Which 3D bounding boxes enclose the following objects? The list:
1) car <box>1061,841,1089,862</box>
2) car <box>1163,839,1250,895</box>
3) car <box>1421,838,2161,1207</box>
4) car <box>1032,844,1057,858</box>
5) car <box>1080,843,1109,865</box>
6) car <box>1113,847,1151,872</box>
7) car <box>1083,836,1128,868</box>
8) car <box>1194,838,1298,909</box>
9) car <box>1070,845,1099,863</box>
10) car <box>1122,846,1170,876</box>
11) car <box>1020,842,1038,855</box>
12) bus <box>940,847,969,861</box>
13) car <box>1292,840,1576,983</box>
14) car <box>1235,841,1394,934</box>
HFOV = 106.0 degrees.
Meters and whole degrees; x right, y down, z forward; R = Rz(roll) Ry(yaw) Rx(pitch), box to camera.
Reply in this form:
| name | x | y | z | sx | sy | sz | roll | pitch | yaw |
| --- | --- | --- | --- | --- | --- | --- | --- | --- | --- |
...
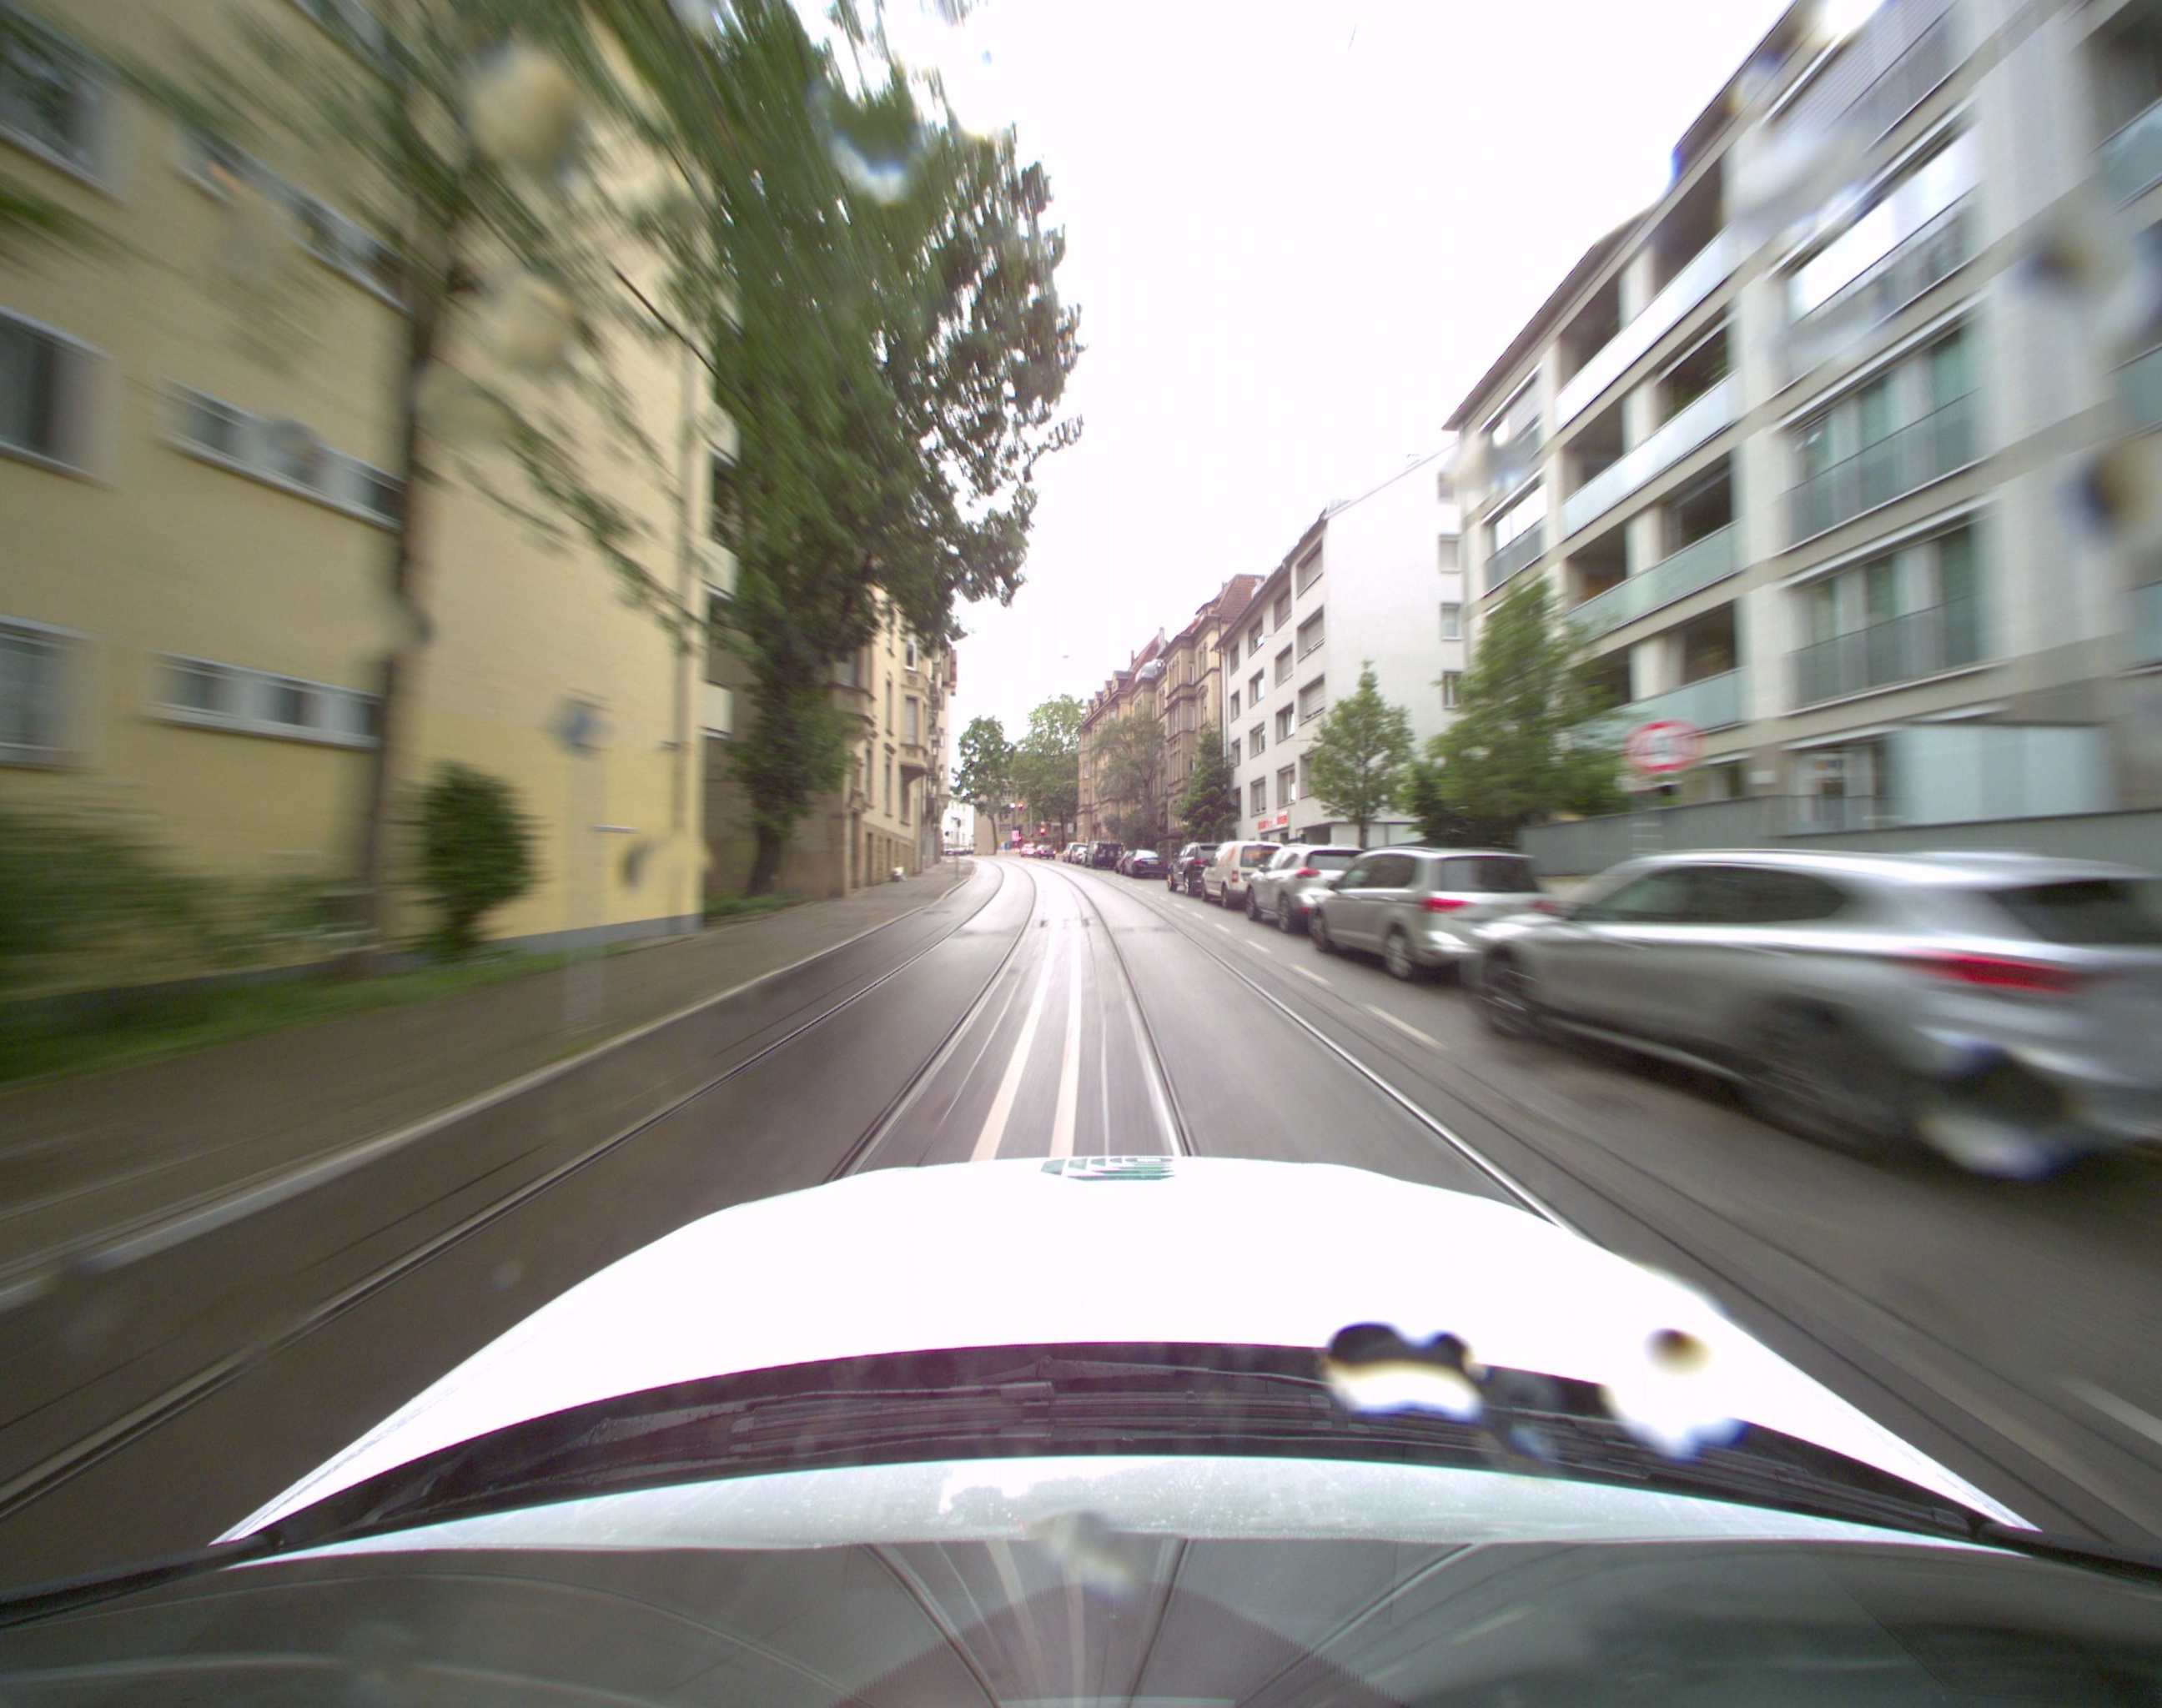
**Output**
| name | x | y | z | sx | sy | sz | roll | pitch | yaw |
| --- | --- | --- | --- | --- | --- | --- | --- | --- | --- |
| car | -0.576 | -0.277 | 72.699 | 1.797 | 1.765 | 4.448 | 2 | 0 | -10 |
| car | 4.313 | 0.414 | 28.794 | 1.939 | 1.795 | 4.813 | 1 | 0 | -5 |
| car | 4.590 | 0.718 | 5.893 | 1.973 | 1.584 | 4.556 | 1 | 0 | -6 |
| car | -3.884 | -0.343 | 86.578 | 1.714 | 1.415 | 4.014 | 1 | 1 | -17 |
| car | 1.005 | -0.009 | 62.575 | 1.560 | 1.546 | 3.572 | 2 | 0 | -10 |
| car | 2.870 | 0.284 | 46.659 | 1.675 | 1.338 | 3.877 | 1 | 1 | -4 |
| car | 1.624 | -0.155 | 56.620 | 2.128 | 2.013 | 5.334 | 2 | 0 | -9 |
| car | 4.616 | 0.500 | 23.428 | 1.775 | 1.795 | 4.465 | 1 | 0 | -4 |
| car | 0.264 | -0.011 | 67.499 | 1.748 | 1.400 | 4.466 | 2 | 0 | -8 |
| car | 3.306 | 0.314 | 42.088 | 1.791 | 1.437 | 4.604 | 1 | 1 | -4 |
| car | -5.933 | -0.647 | 92.360 | 1.709 | 1.456 | 3.544 | 1 | 1 | -8 |
| bus | -27.174 | 0.030 | 175.612 | 2.834 | 2.861 | 8.767 | 0 | 1 | 14 |
| car | 4.662 | 0.651 | 11.661 | 1.828 | 1.628 | 4.658 | 1 | 0 | -4 |
| car | 4.692 | 0.601 | 17.142 | 1.827 | 1.656 | 4.683 | 1 | 0 | -2 |
